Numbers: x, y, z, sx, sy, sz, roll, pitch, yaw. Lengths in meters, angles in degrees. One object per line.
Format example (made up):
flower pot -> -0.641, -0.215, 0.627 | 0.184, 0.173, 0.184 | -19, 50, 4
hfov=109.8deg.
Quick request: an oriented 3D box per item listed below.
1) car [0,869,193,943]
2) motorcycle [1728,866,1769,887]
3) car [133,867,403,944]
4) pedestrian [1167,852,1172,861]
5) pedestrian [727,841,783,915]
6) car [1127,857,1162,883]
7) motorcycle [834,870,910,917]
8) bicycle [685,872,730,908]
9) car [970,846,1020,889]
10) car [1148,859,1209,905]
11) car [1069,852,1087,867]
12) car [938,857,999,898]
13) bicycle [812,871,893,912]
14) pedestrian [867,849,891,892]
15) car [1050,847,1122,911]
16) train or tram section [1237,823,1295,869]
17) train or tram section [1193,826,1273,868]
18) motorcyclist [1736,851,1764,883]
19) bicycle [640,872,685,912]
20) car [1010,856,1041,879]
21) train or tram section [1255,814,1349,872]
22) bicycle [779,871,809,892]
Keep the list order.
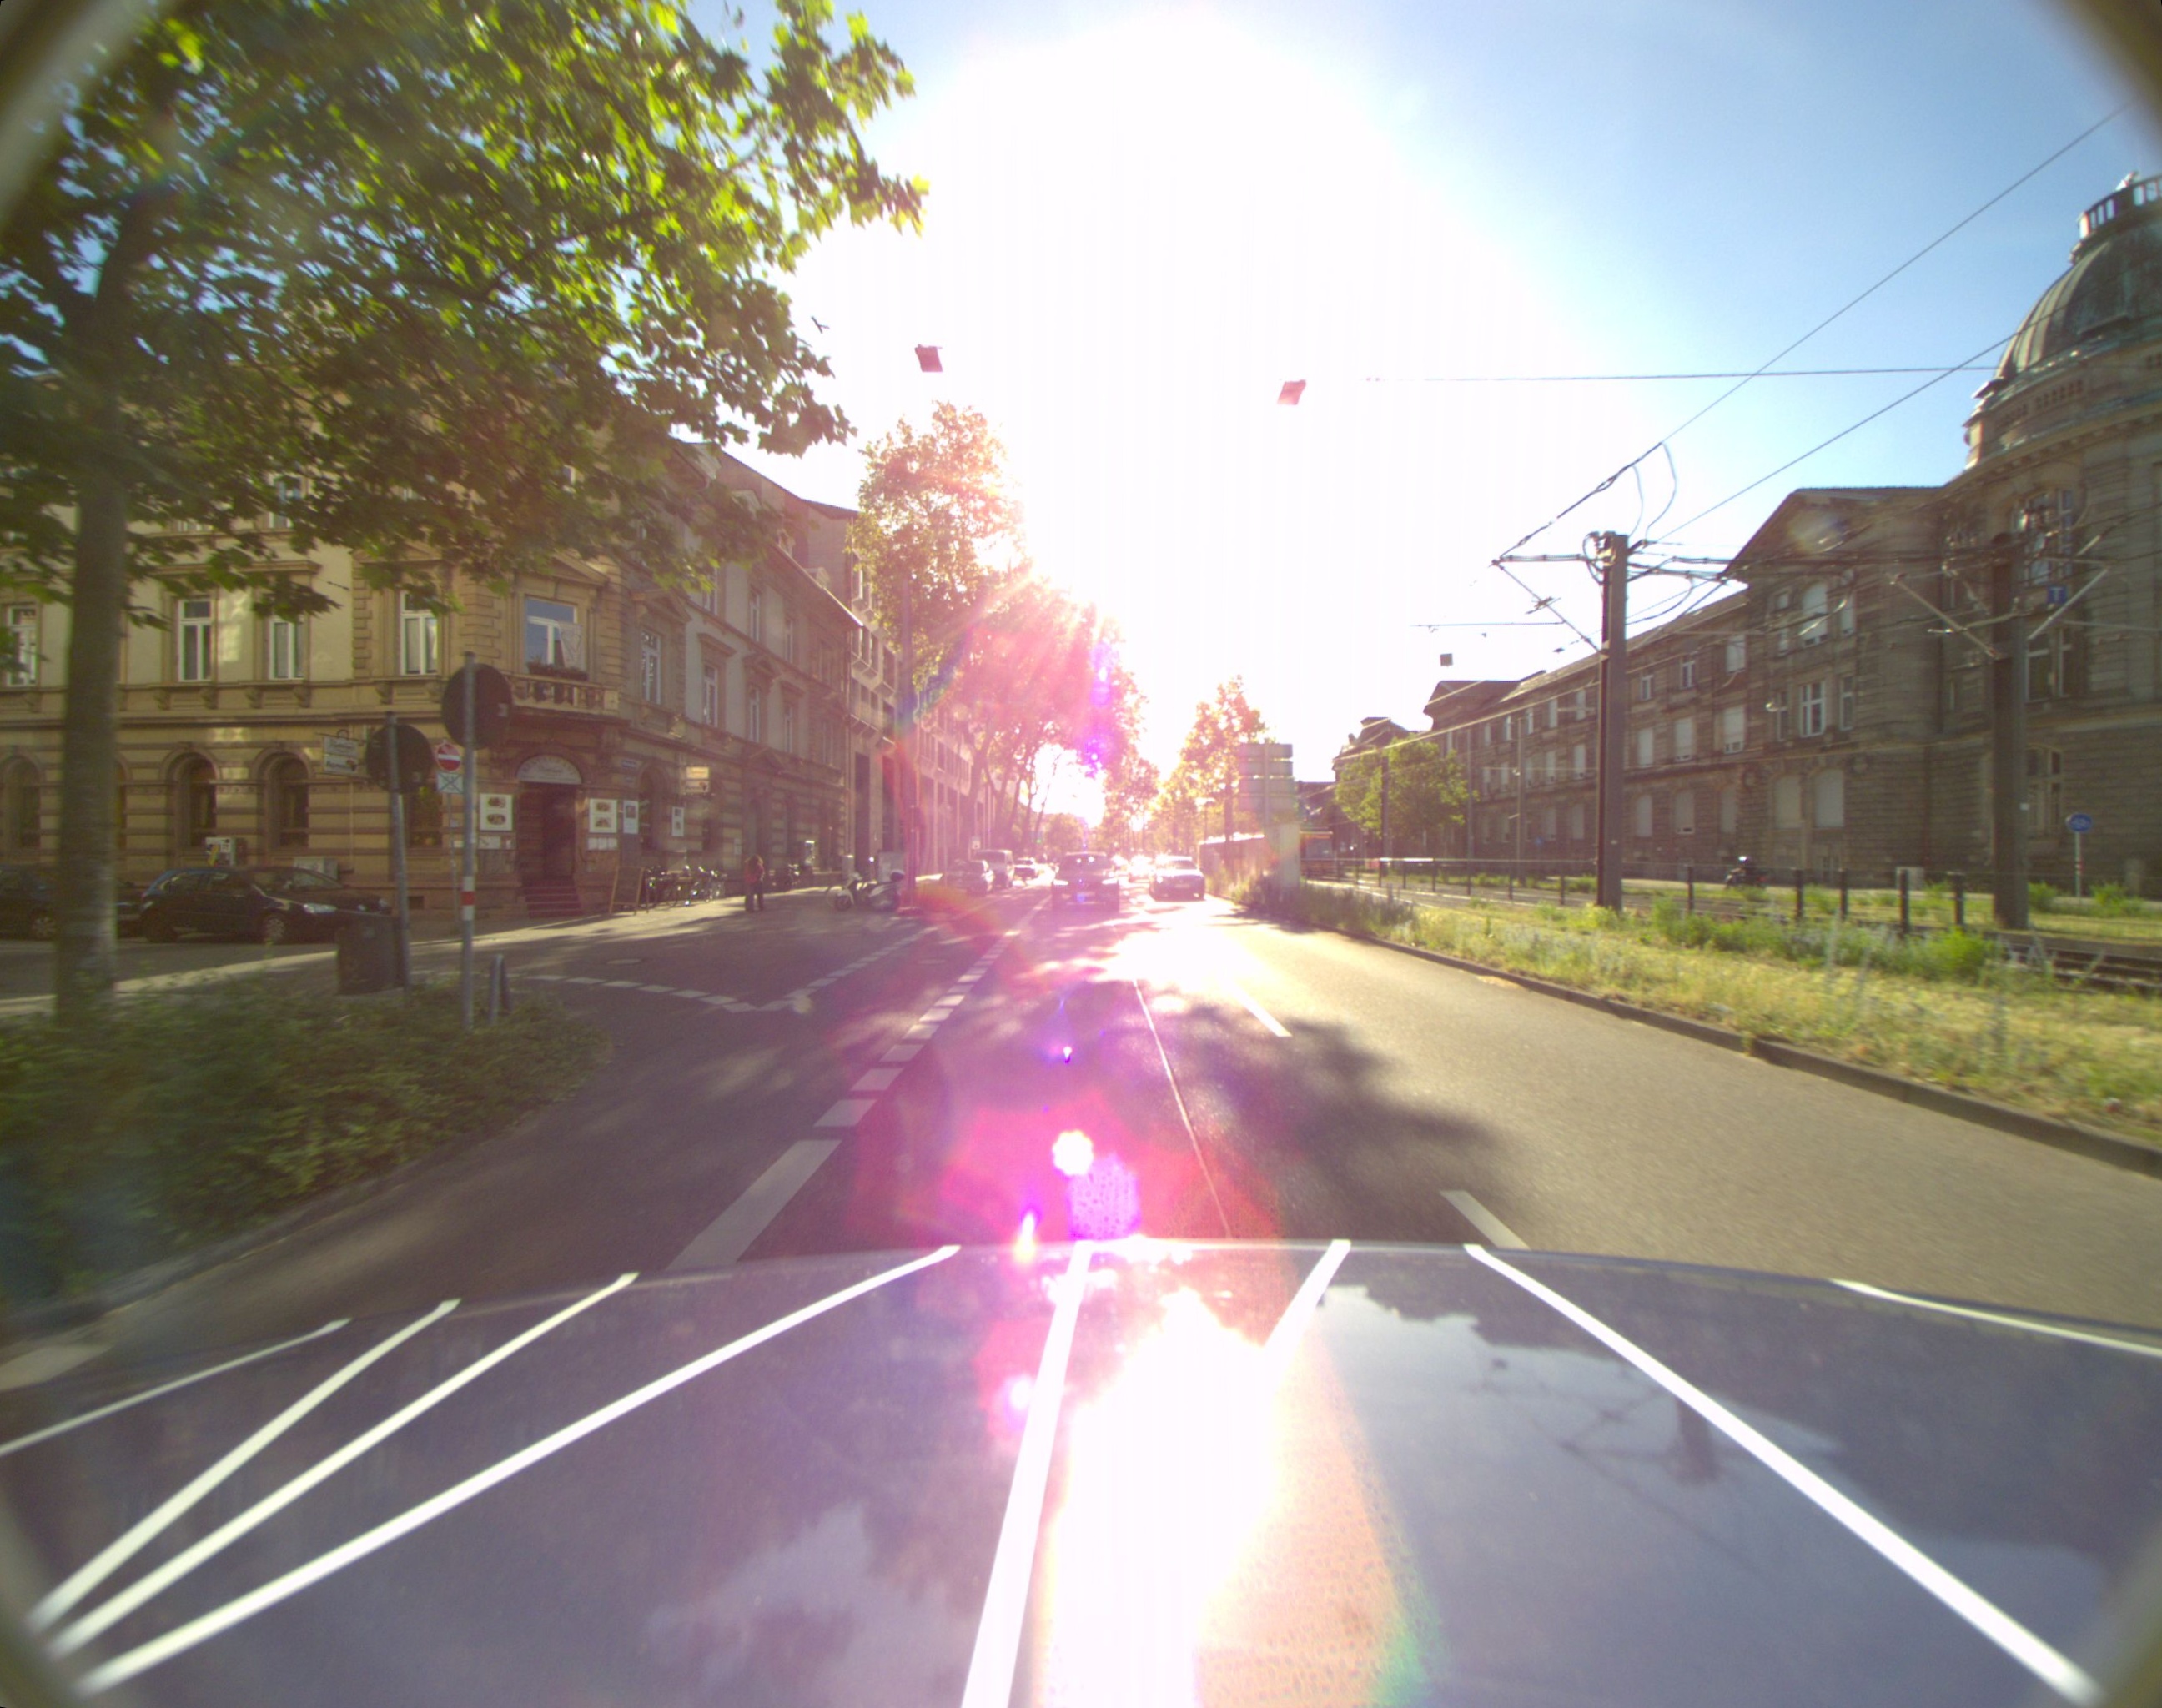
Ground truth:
car -> -21.206, 1.035, 15.737 | 3.995, 1.396, 1.702 | 0, 0, 7
motorcycle -> 26.745, 0.889, 30.463 | 0.369, 0.779, 1.522 | -2, 0, 3
car -> -16.131, 0.991, 15.174 | 3.916, 1.403, 1.637 | -1, 0, 6
pedestrian -> 16.750, 0.486, 143.482 | 0.595, 1.735, 0.698 | -3, 1, -31
pedestrian -> -9.057, 0.645, 21.157 | 1.090, 2.002, 1.046 | 1, 1, 2
car -> 3.759, 0.916, 45.248 | 1.798, 1.420, 4.000 | -2, 0, 1
motorcycle -> -5.896, 1.100, 21.504 | 1.954, 1.224, 0.515 | -2, 1, -2
bicycle -> -11.466, 1.078, 23.381 | 0.415, 0.991, 1.882 | -1, 0, 1
car -> -4.344, 0.659, 39.125 | 1.861, 2.002, 4.723 | -2, 0, 1
car -> 3.415, 0.942, 27.300 | 1.777, 1.439, 3.869 | -2, 0, 2
car -> -0.309, 0.595, 85.315 | 1.833, 1.608, 4.000 | -3, 0, 1
car -> -4.630, 0.921, 31.909 | 1.823, 1.506, 4.707 | -2, 0, 0
bicycle -> -6.735, 1.102, 22.404 | 2.227, 1.087, 0.456 | -2, 1, 2
pedestrian -> -8.615, 0.691, 32.373 | 0.644, 1.816, 0.895 | -2, 1, 4
car -> 0.142, 0.682, 23.167 | 1.949, 1.690, 5.306 | -1, 0, 0
train or tram section -> 14.732, -0.588, 60.984 | 2.964, 3.463, 6.059 | -2, 0, -1
train or tram section -> 14.408, -0.550, 74.619 | 2.971, 3.463, 21.214 | -2, 0, -1
motorcyclist -> 26.744, 0.509, 30.392 | 0.515, 1.250, 0.691 | -2, 1, 5
bicycle -> -11.803, 1.050, 21.473 | 0.280, 1.014, 1.730 | 1, 0, 1
car -> -3.980, 0.951, 55.252 | 1.672, 1.561, 4.280 | -2, 0, 2
train or tram section -> 14.885, -0.640, 52.333 | 2.969, 3.463, 11.286 | -2, 0, -1
bicycle -> -11.621, 1.106, 30.823 | 0.550, 0.769, 1.663 | 1, 0, 1
